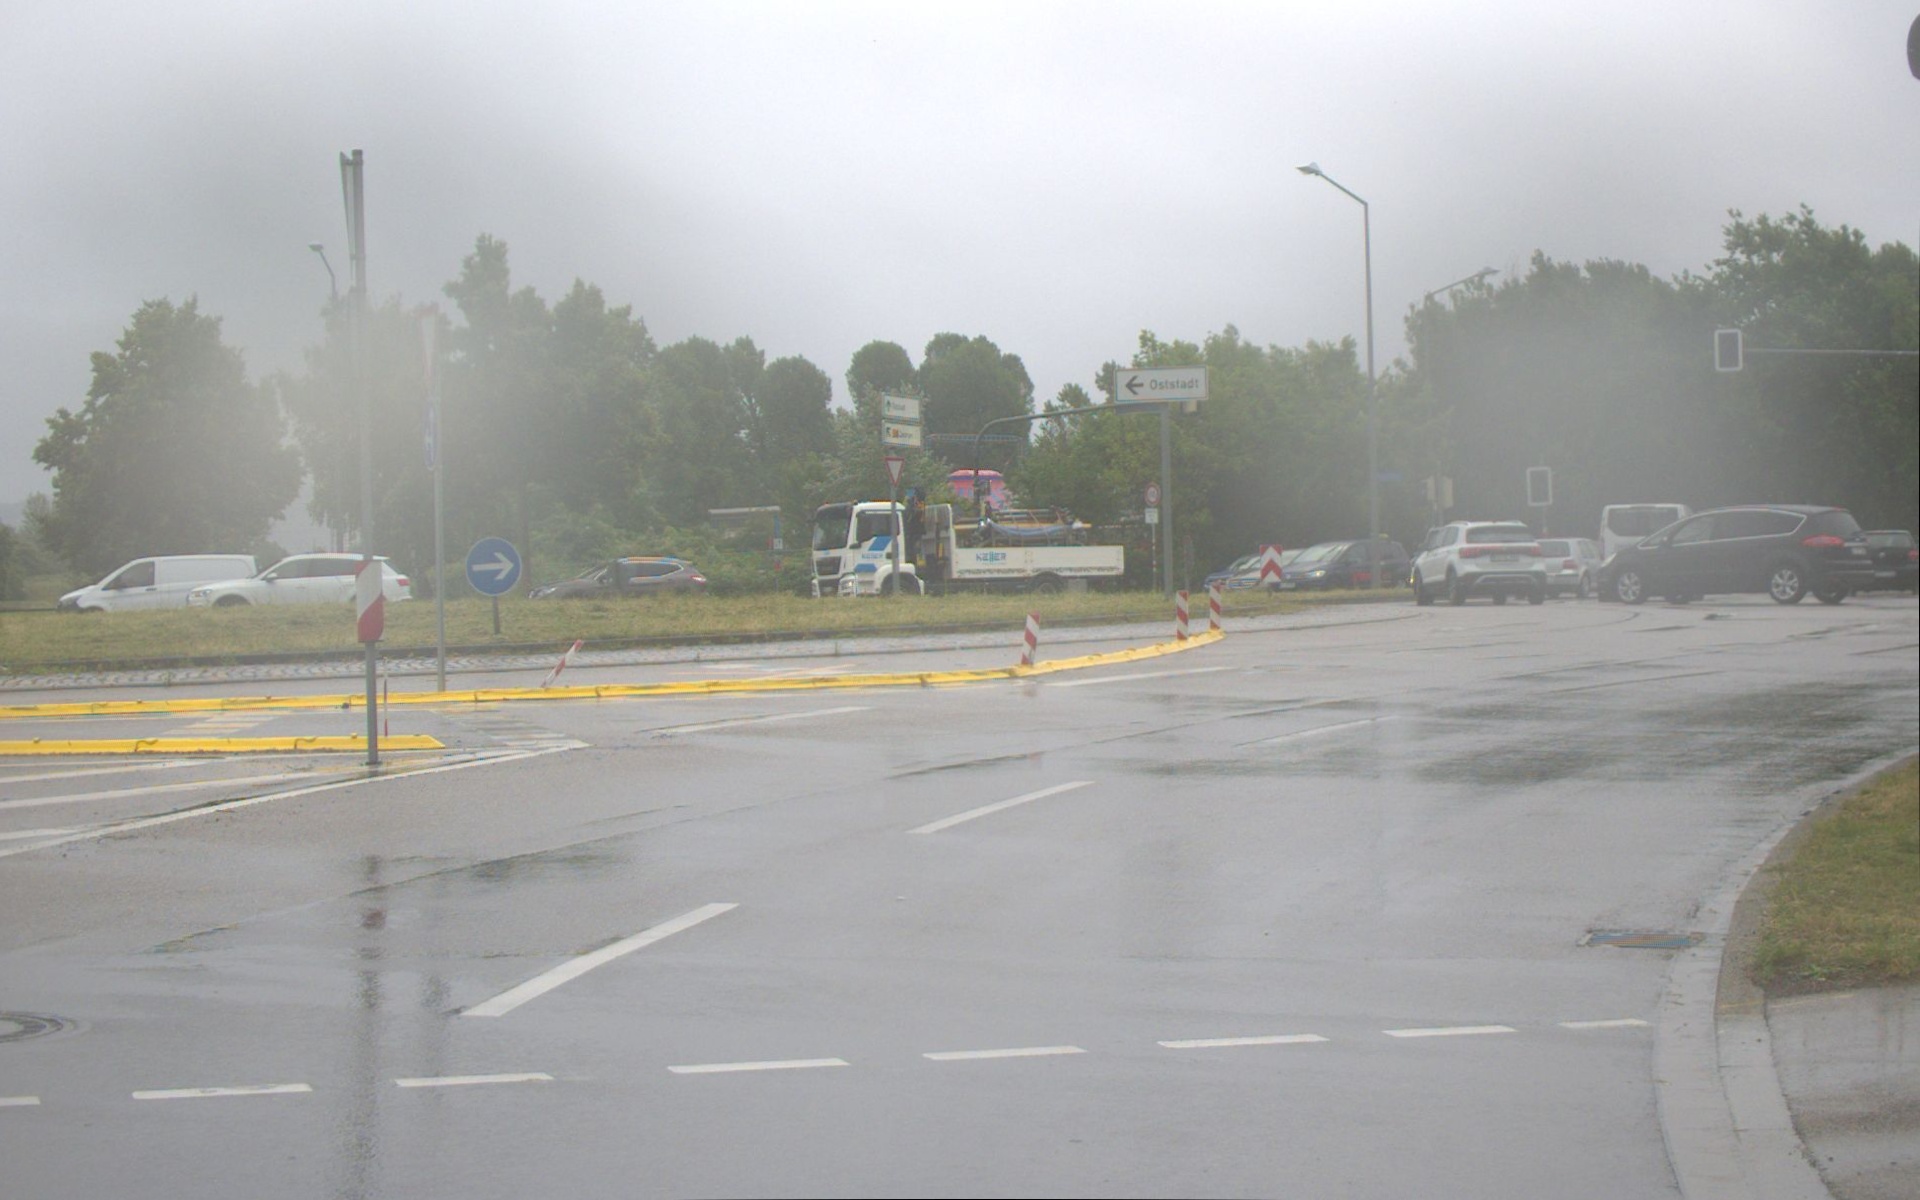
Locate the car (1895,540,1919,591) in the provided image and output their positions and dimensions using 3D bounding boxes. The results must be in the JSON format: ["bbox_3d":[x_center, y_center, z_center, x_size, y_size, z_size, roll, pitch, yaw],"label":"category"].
[{"bbox_3d":[34.352,-1.179,119.323,1.998,1.744,3.990,1,1,43],"label":"car"}]

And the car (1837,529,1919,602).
[{"bbox_3d":[19.929,-0.761,73.885,1.690,1.487,3.248,-1,1,22],"label":"car"}]

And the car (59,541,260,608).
[{"bbox_3d":[-18.768,-0.603,80.691,4.533,1.487,1.612,1,0,-12],"label":"car"}]

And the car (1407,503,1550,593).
[{"bbox_3d":[9.759,-0.974,64.943,1.680,1.642,3.948,1,1,-6],"label":"car"}]

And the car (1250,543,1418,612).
[{"bbox_3d":[9.806,-0.583,89.846,1.776,1.738,4.853,1,1,43],"label":"car"}]

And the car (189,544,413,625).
[{"bbox_3d":[-14.781,-0.340,77.166,4.849,1.738,1.778,1,0,-11],"label":"car"}]

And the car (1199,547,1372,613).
[{"bbox_3d":[8.931,-0.531,94.053,4.852,1.738,1.777,0,1,-40],"label":"car"}]

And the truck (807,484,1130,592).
[{"bbox_3d":[0.292,-1.625,91.629,8.768,2.702,2.000,0,1,-30],"label":"truck"}]

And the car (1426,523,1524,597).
[{"bbox_3d":[10.852,-0.833,72.327,1.690,1.487,3.249,1,1,15],"label":"car"}]

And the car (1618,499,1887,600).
[{"bbox_3d":[13.243,-0.852,57.525,3.995,1.642,1.785,1,1,37],"label":"car"}]

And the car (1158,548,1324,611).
[{"bbox_3d":[8.061,-0.586,98.389,4.852,1.738,1.777,0,1,-40],"label":"car"}]

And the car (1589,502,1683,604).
[{"bbox_3d":[14.021,-0.969,71.178,1.784,2.029,3.998,1,1,12],"label":"car"}]

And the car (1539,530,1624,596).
[{"bbox_3d":[14.468,-0.859,79.926,1.690,1.487,3.249,1,1,15],"label":"car"}]

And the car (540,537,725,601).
[{"bbox_3d":[-7.914,-0.756,83.189,4.138,1.487,1.612,1,1,-26],"label":"car"}]
